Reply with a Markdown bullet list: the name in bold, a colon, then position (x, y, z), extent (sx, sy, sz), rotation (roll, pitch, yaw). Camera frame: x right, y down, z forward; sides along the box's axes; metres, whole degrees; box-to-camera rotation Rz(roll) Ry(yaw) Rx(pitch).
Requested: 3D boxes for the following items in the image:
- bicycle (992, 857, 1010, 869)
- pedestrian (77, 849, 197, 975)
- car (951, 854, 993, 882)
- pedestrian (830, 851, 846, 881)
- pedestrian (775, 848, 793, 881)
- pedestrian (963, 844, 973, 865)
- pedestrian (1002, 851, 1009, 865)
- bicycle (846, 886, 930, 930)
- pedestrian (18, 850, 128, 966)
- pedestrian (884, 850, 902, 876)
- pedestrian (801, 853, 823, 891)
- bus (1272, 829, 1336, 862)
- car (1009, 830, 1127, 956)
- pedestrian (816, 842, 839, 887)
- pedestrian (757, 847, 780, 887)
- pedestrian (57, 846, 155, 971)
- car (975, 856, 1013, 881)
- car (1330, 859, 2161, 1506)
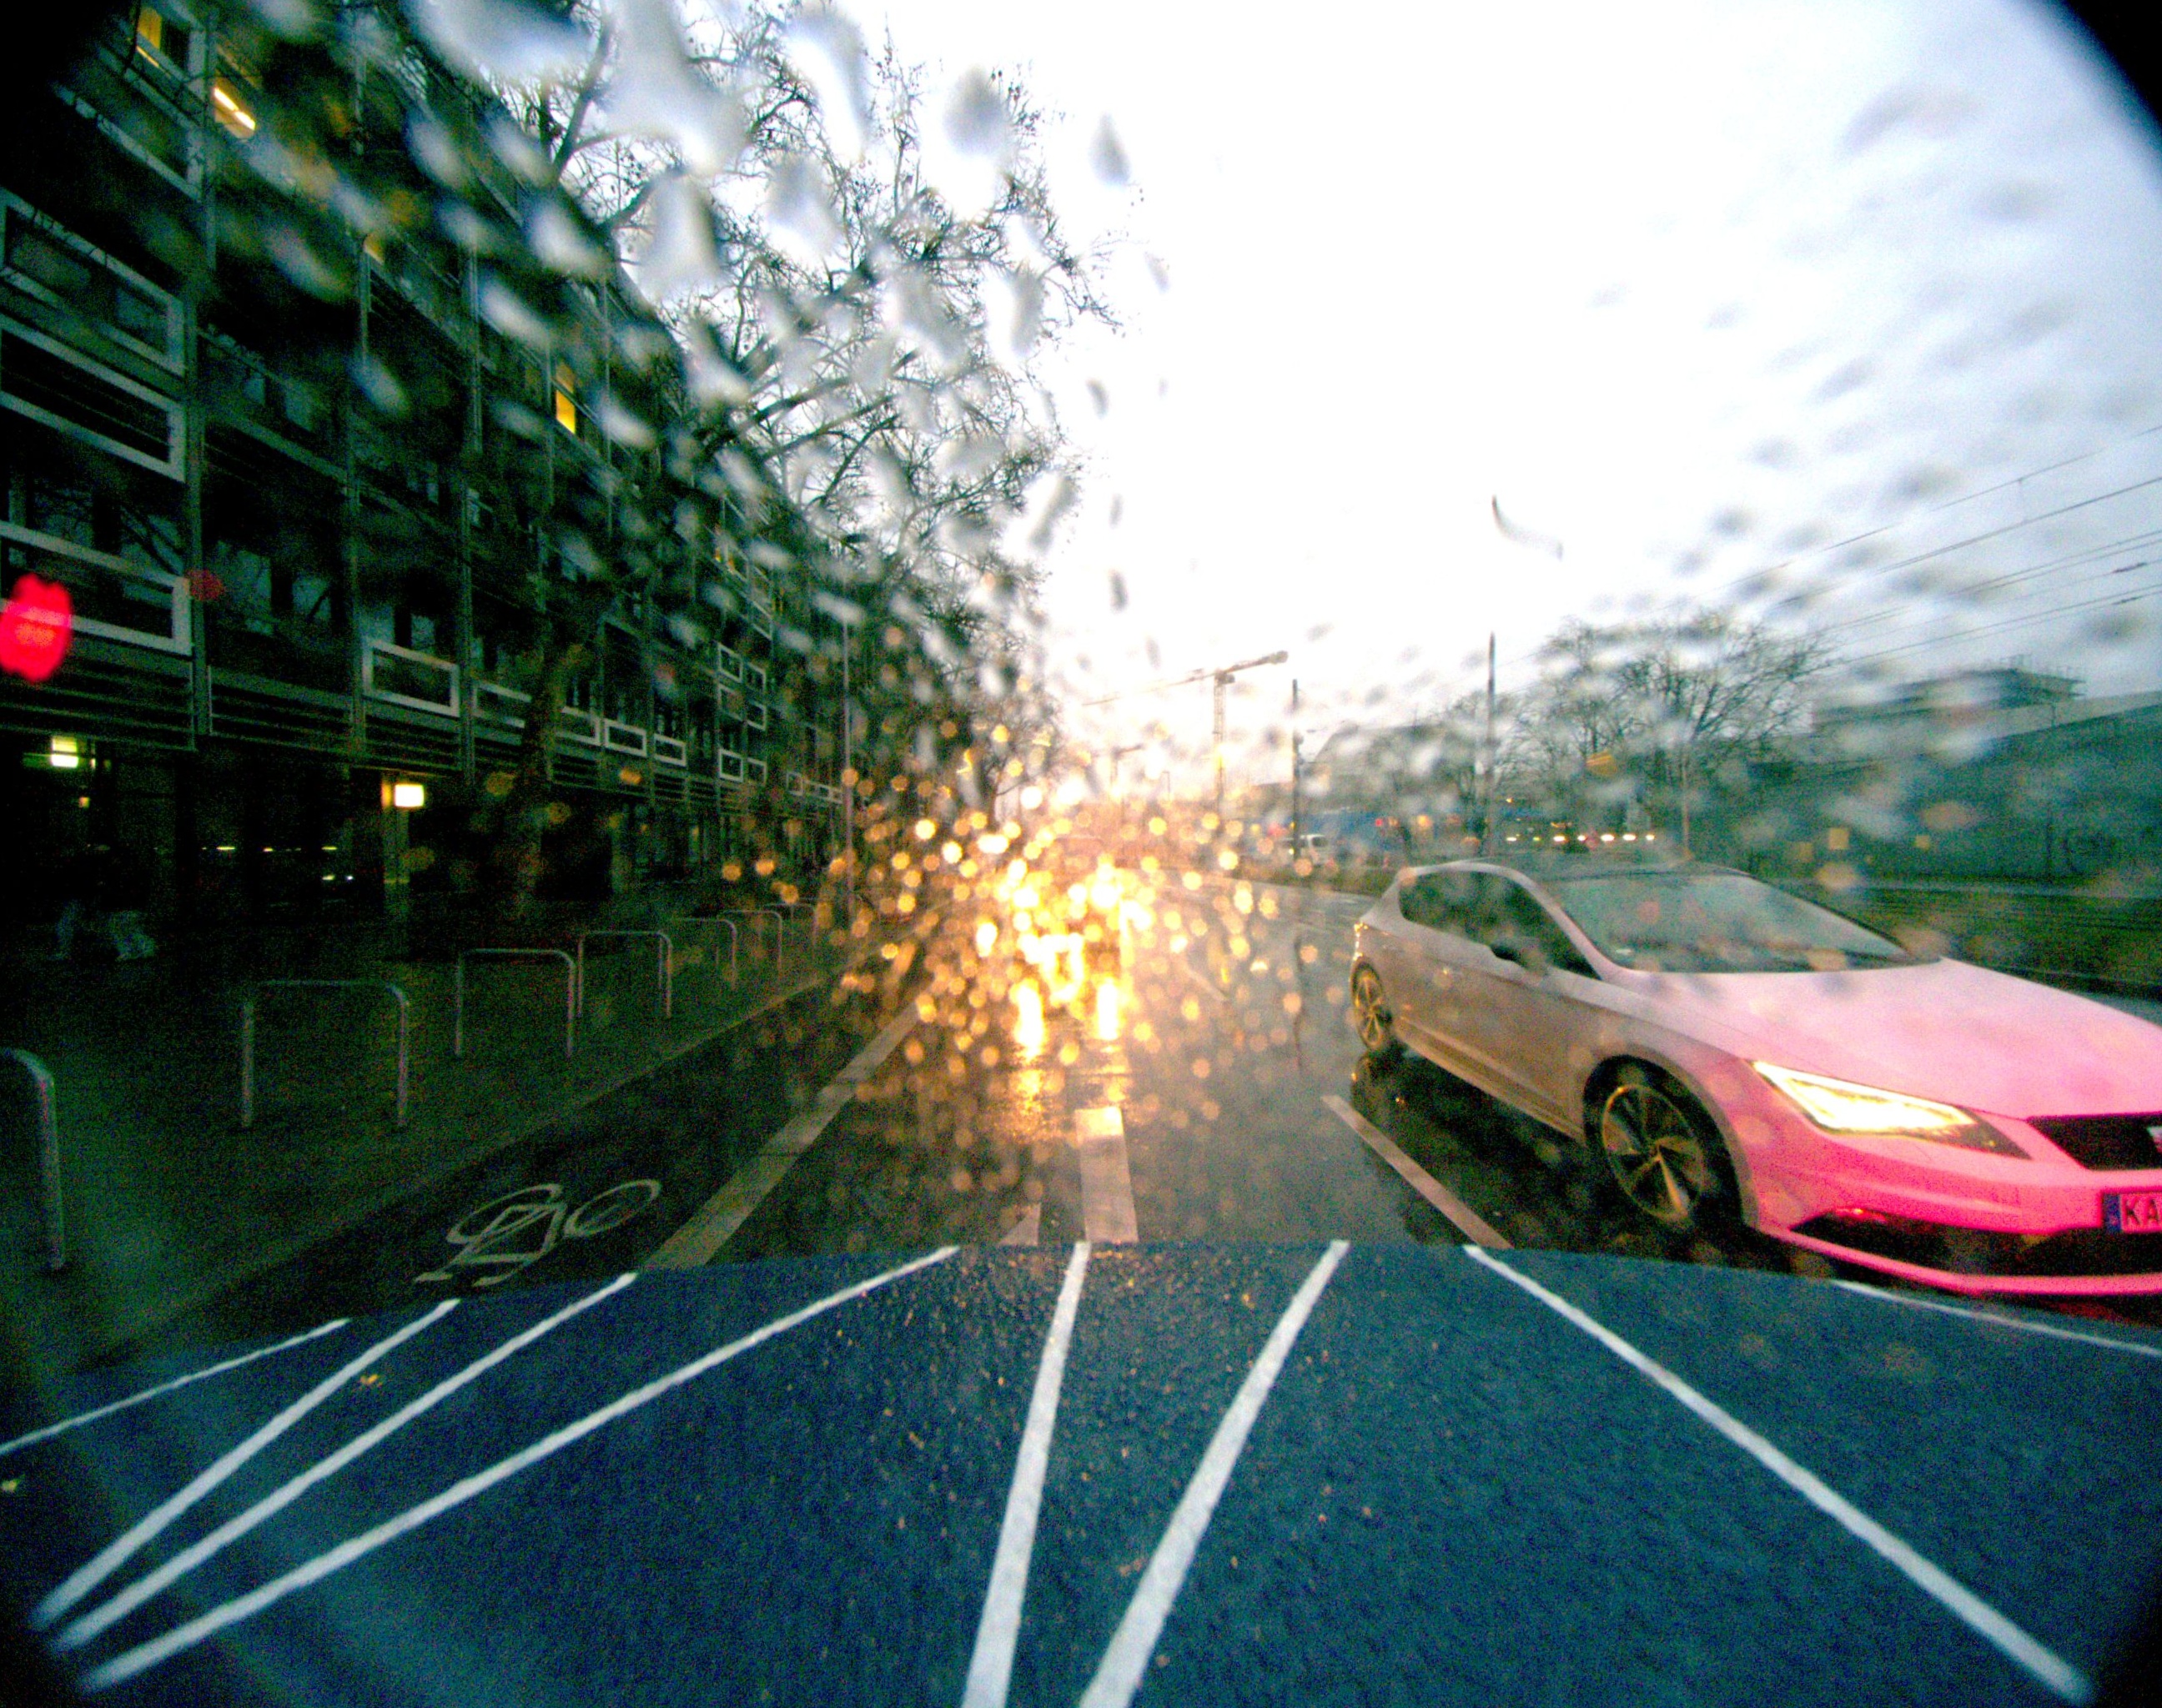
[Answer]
- **bicycle**: position (-7.205, 0.825, 68.290), extent (1.523, 1.030, 0.469), rotation (-2, 1, -7)
- **pedestrian**: position (-12.900, 0.758, 10.412), extent (0.501, 1.658, 0.873), rotation (0, 1, 1)
- **car**: position (-6.167, 0.783, 43.369), extent (1.608, 1.424, 3.930), rotation (2, 1, 2)
- **pedestrian**: position (-13.133, 0.638, 41.114), extent (0.641, 1.645, 0.842), rotation (-1, 1, -8)
- **pedestrian**: position (-12.509, 0.428, 32.022), extent (0.493, 1.361, 0.503), rotation (0, 1, 23)
- **pedestrian**: position (-10.654, 0.037, 71.657), extent (0.791, 2.002, 1.024), rotation (-1, 1, 0)
- **pedestrian**: position (-11.032, 0.540, 110.498), extent (0.838, 2.002, 0.771), rotation (-2, 2, -1)
- **bicycle**: position (-4.446, 1.245, 17.600), extent (1.792, 0.968, 0.617), rotation (1, 1, -4)
- **pedestrian**: position (-13.925, 0.718, 10.521), extent (0.484, 1.555, 0.745), rotation (-1, 1, -1)
- **pedestrian**: position (-11.090, 0.496, 44.919), extent (0.866, 1.515, 0.837), rotation (-1, 1, -2)
- **pedestrian**: position (-11.005, 0.742, 31.137), extent (0.649, 1.535, 0.615), rotation (0, 1, 1)
- **bus**: position (26.120, -0.966, 89.885), extent (2.815, 3.557, 12.298), rotation (-1, 0, -6)
- **car**: position (-0.182, 0.605, 14.128), extent (1.858, 2.002, 4.000), rotation (0, 1, 1)
- **pedestrian**: position (-11.594, 0.480, 34.760), extent (0.822, 2.002, 0.735), rotation (-1, 1, -2)
- **pedestrian**: position (-13.228, 0.533, 32.171), extent (0.617, 1.647, 0.780), rotation (-1, 1, 1)
- **pedestrian**: position (-13.406, 0.725, 10.465), extent (0.379, 1.658, 0.713), rotation (0, 1, 1)
- **car**: position (-5.848, 0.955, 51.304), extent (1.998, 1.477, 3.999), rotation (-2, 1, 1)
- **car**: position (2.942, 0.816, 3.941), extent (1.778, 1.466, 4.128), rotation (-2, 1, -2)
